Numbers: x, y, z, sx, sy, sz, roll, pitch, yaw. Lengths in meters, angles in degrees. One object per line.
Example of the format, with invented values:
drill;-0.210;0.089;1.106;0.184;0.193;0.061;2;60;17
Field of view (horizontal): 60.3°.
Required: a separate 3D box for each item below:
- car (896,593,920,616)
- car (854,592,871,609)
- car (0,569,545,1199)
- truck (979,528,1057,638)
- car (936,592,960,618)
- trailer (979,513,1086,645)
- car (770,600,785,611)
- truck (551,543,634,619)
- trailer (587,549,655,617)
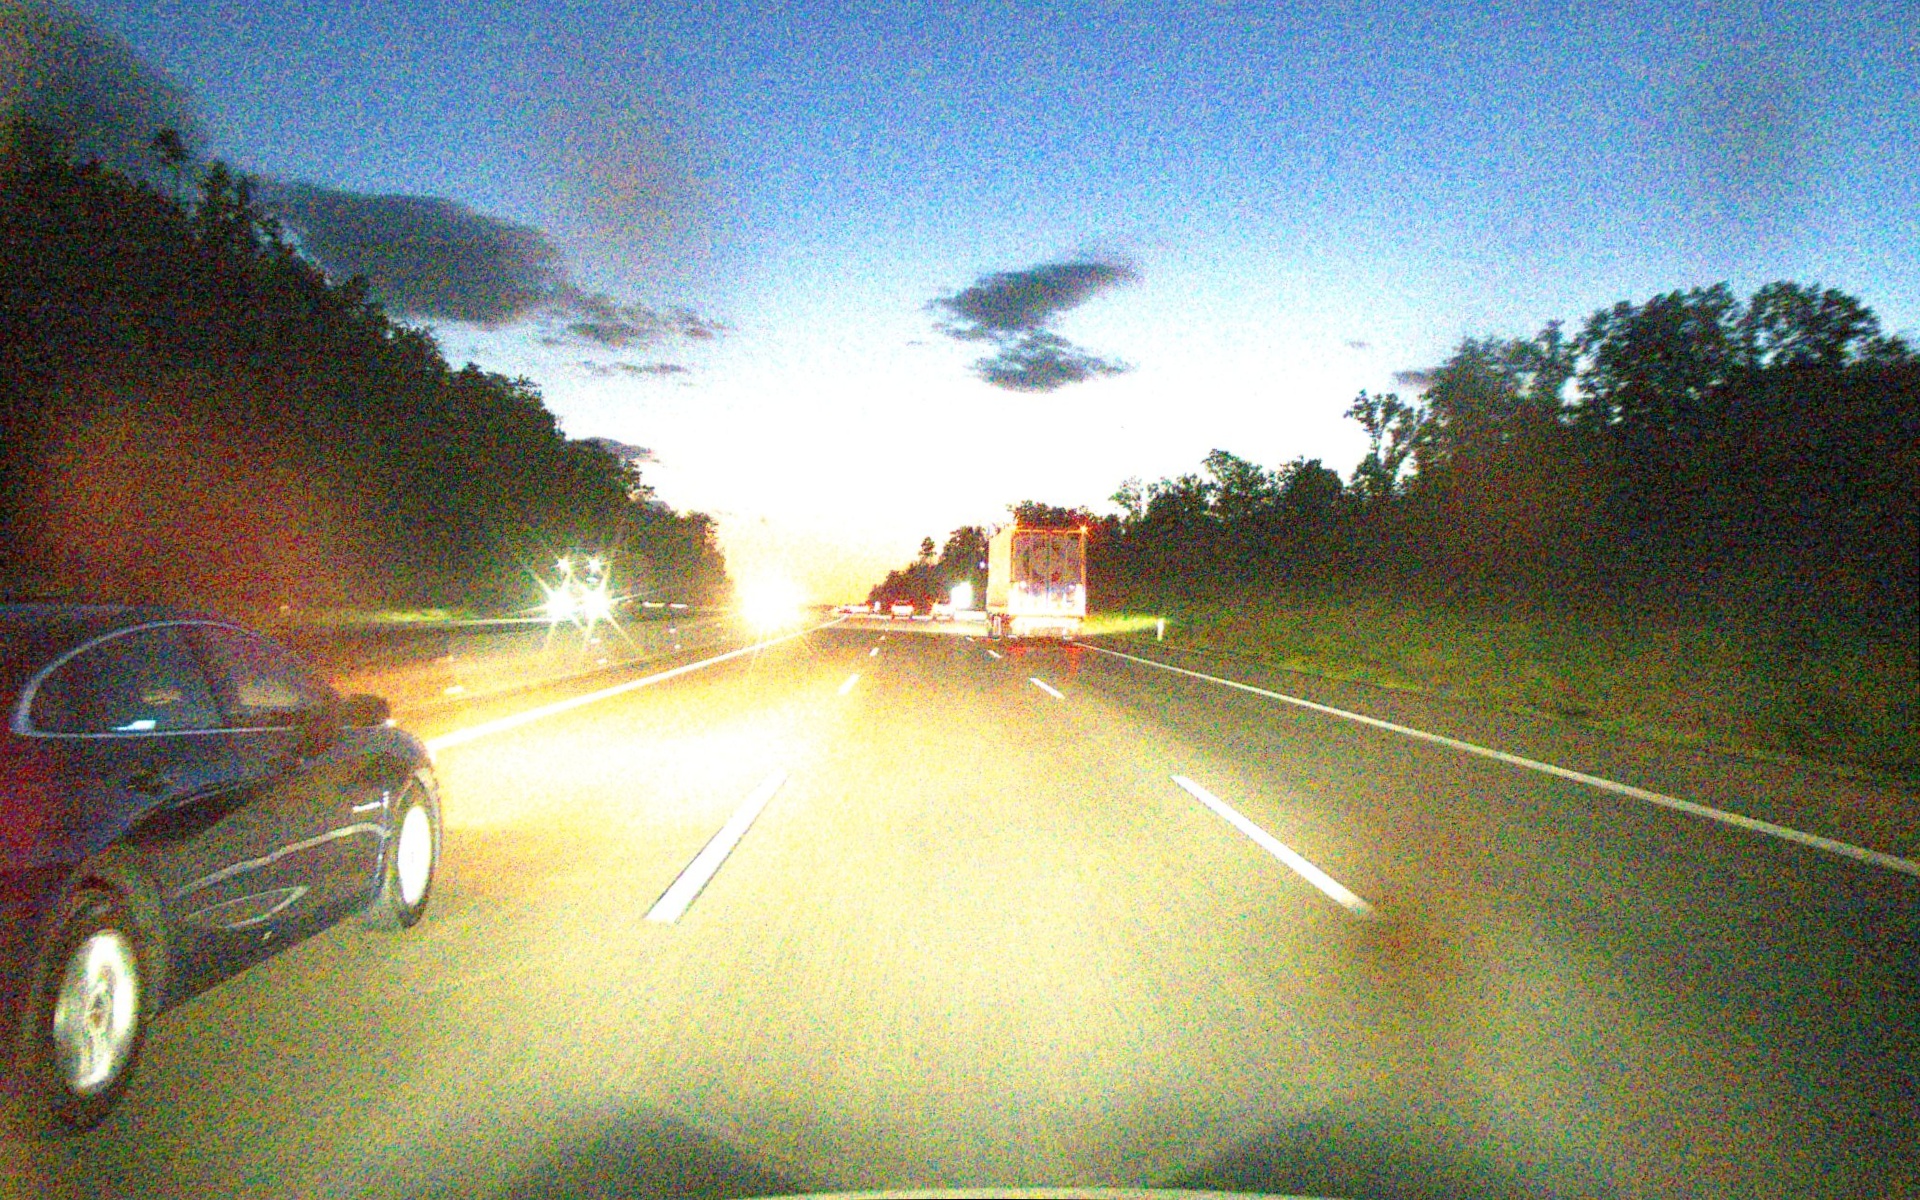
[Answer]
car;-4.468;0.421;141.432;1.954;1.825;3.997;1;-1;-3
car;-11.262;0.065;191.283;1.953;1.825;3.998;1;-1;-2
car;-3.218;0.697;5.906;1.952;1.545;5.651;2;1;1
truck;2.363;-0.668;69.183;2.772;4.331;6.260;1;0;-2
car;-1.096;0.474;146.003;1.953;2.154;3.998;1;-1;-2
trailer;2.531;-0.681;63.833;2.772;4.331;17.042;1;0;-2
car;-27.625;0.846;250.562;1.953;1.691;3.998;1;0;-2
truck;-21.447;-1.055;97.076;2.802;4.143;10.630;1;0;-2
trailer;-21.819;-1.043;106.819;2.802;4.143;8.867;1;0;-2
